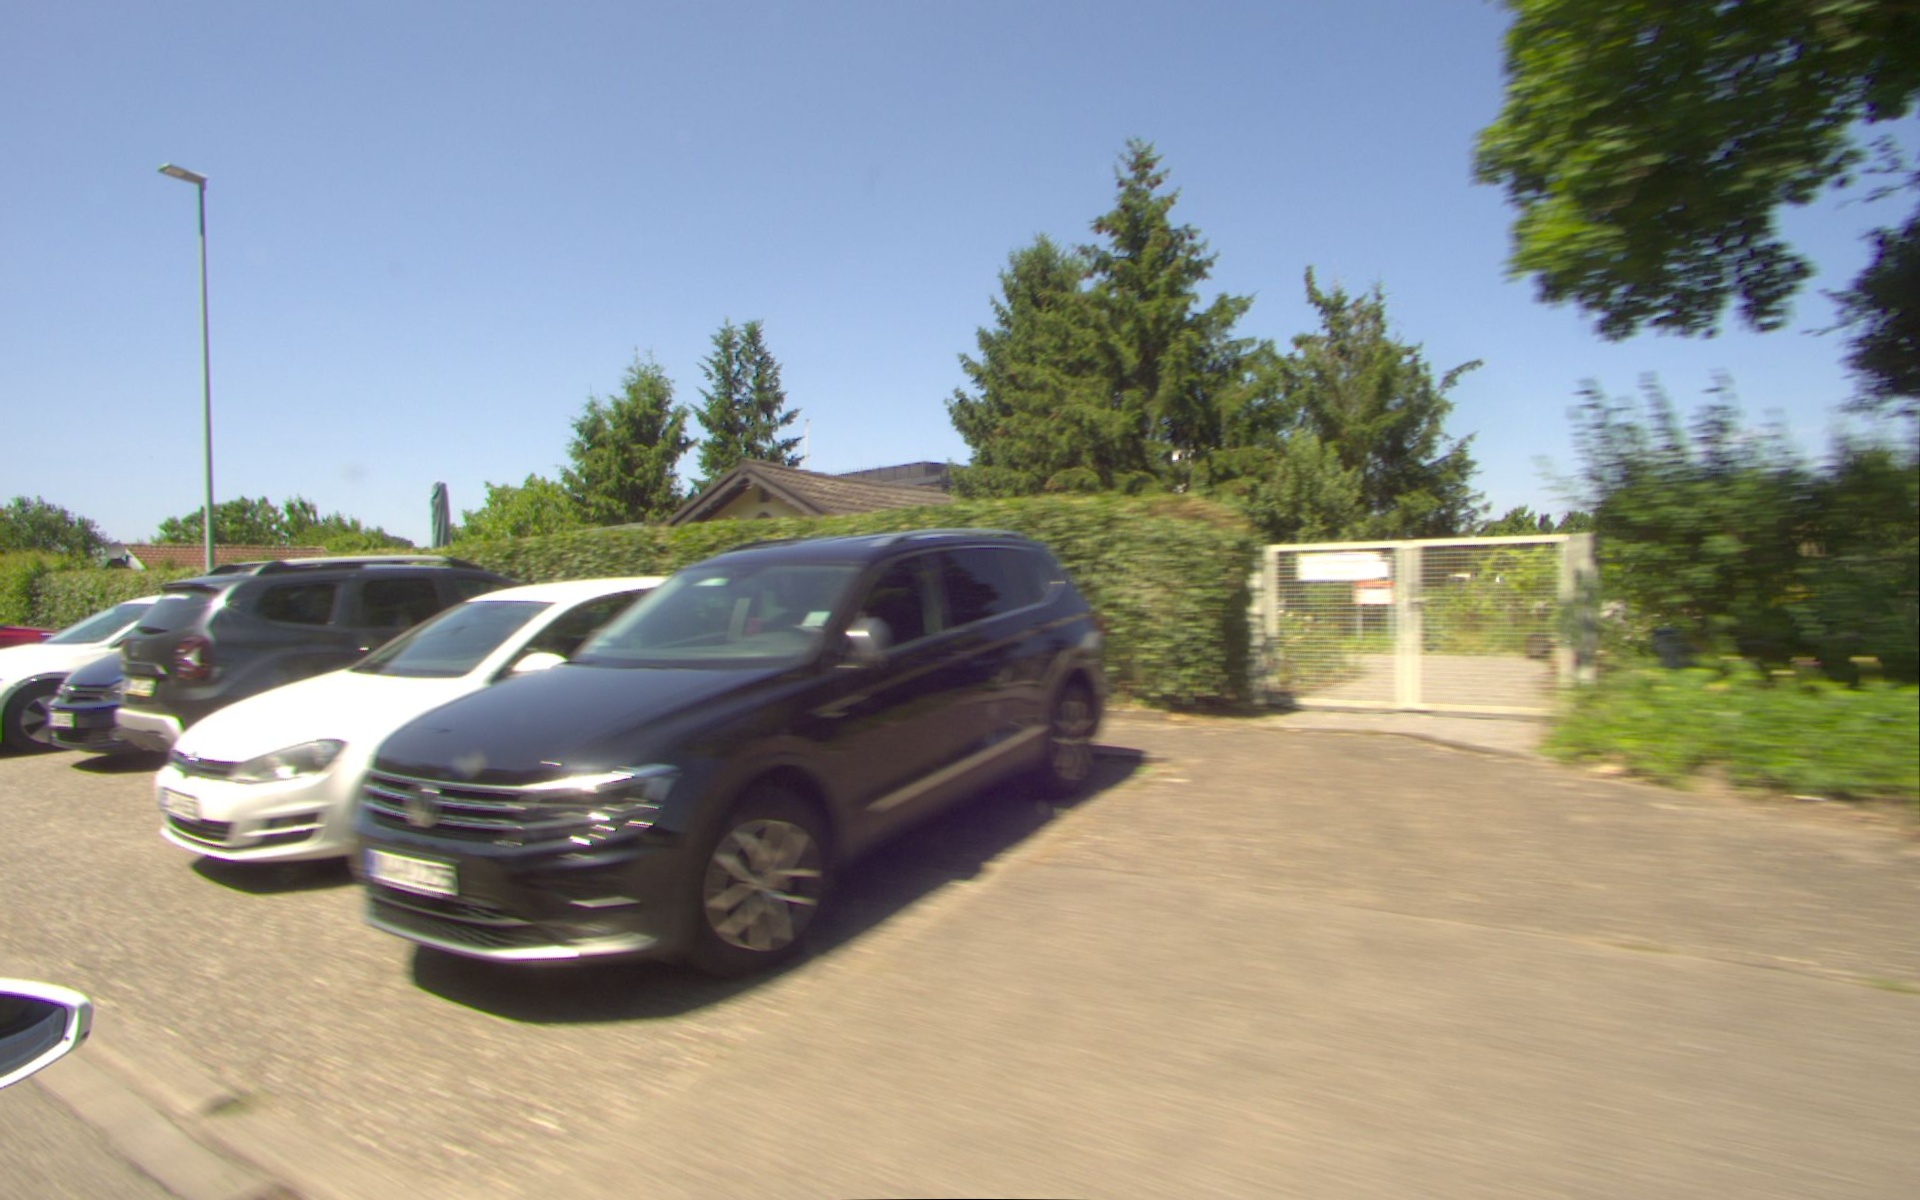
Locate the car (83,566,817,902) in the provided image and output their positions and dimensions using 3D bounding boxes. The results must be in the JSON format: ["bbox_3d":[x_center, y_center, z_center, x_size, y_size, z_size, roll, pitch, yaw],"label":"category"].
[{"bbox_3d":[-2.973,0.564,6.723,1.806,1.472,3.986,0,2,32],"label":"car"}]

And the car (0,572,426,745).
[{"bbox_3d":[-8.721,0.506,11.110,1.932,1.459,4.548,0,3,30],"label":"car"}]

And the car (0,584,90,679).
[{"bbox_3d":[-16.756,0.588,16.005,1.819,1.499,3.906,0,3,34],"label":"car"}]

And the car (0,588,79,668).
[{"bbox_3d":[-18.792,0.599,17.884,1.814,1.408,4.191,0,3,32],"label":"car"}]

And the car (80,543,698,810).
[{"bbox_3d":[-4.567,0.399,8.702,1.828,1.722,4.244,0,3,34],"label":"car"}]

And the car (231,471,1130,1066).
[{"bbox_3d":[-0.812,0.384,5.284,1.885,1.728,4.460,0,3,31],"label":"car"}]

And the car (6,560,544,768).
[{"bbox_3d":[-6.521,0.445,10.056,1.732,1.570,4.039,0,3,31],"label":"car"}]
